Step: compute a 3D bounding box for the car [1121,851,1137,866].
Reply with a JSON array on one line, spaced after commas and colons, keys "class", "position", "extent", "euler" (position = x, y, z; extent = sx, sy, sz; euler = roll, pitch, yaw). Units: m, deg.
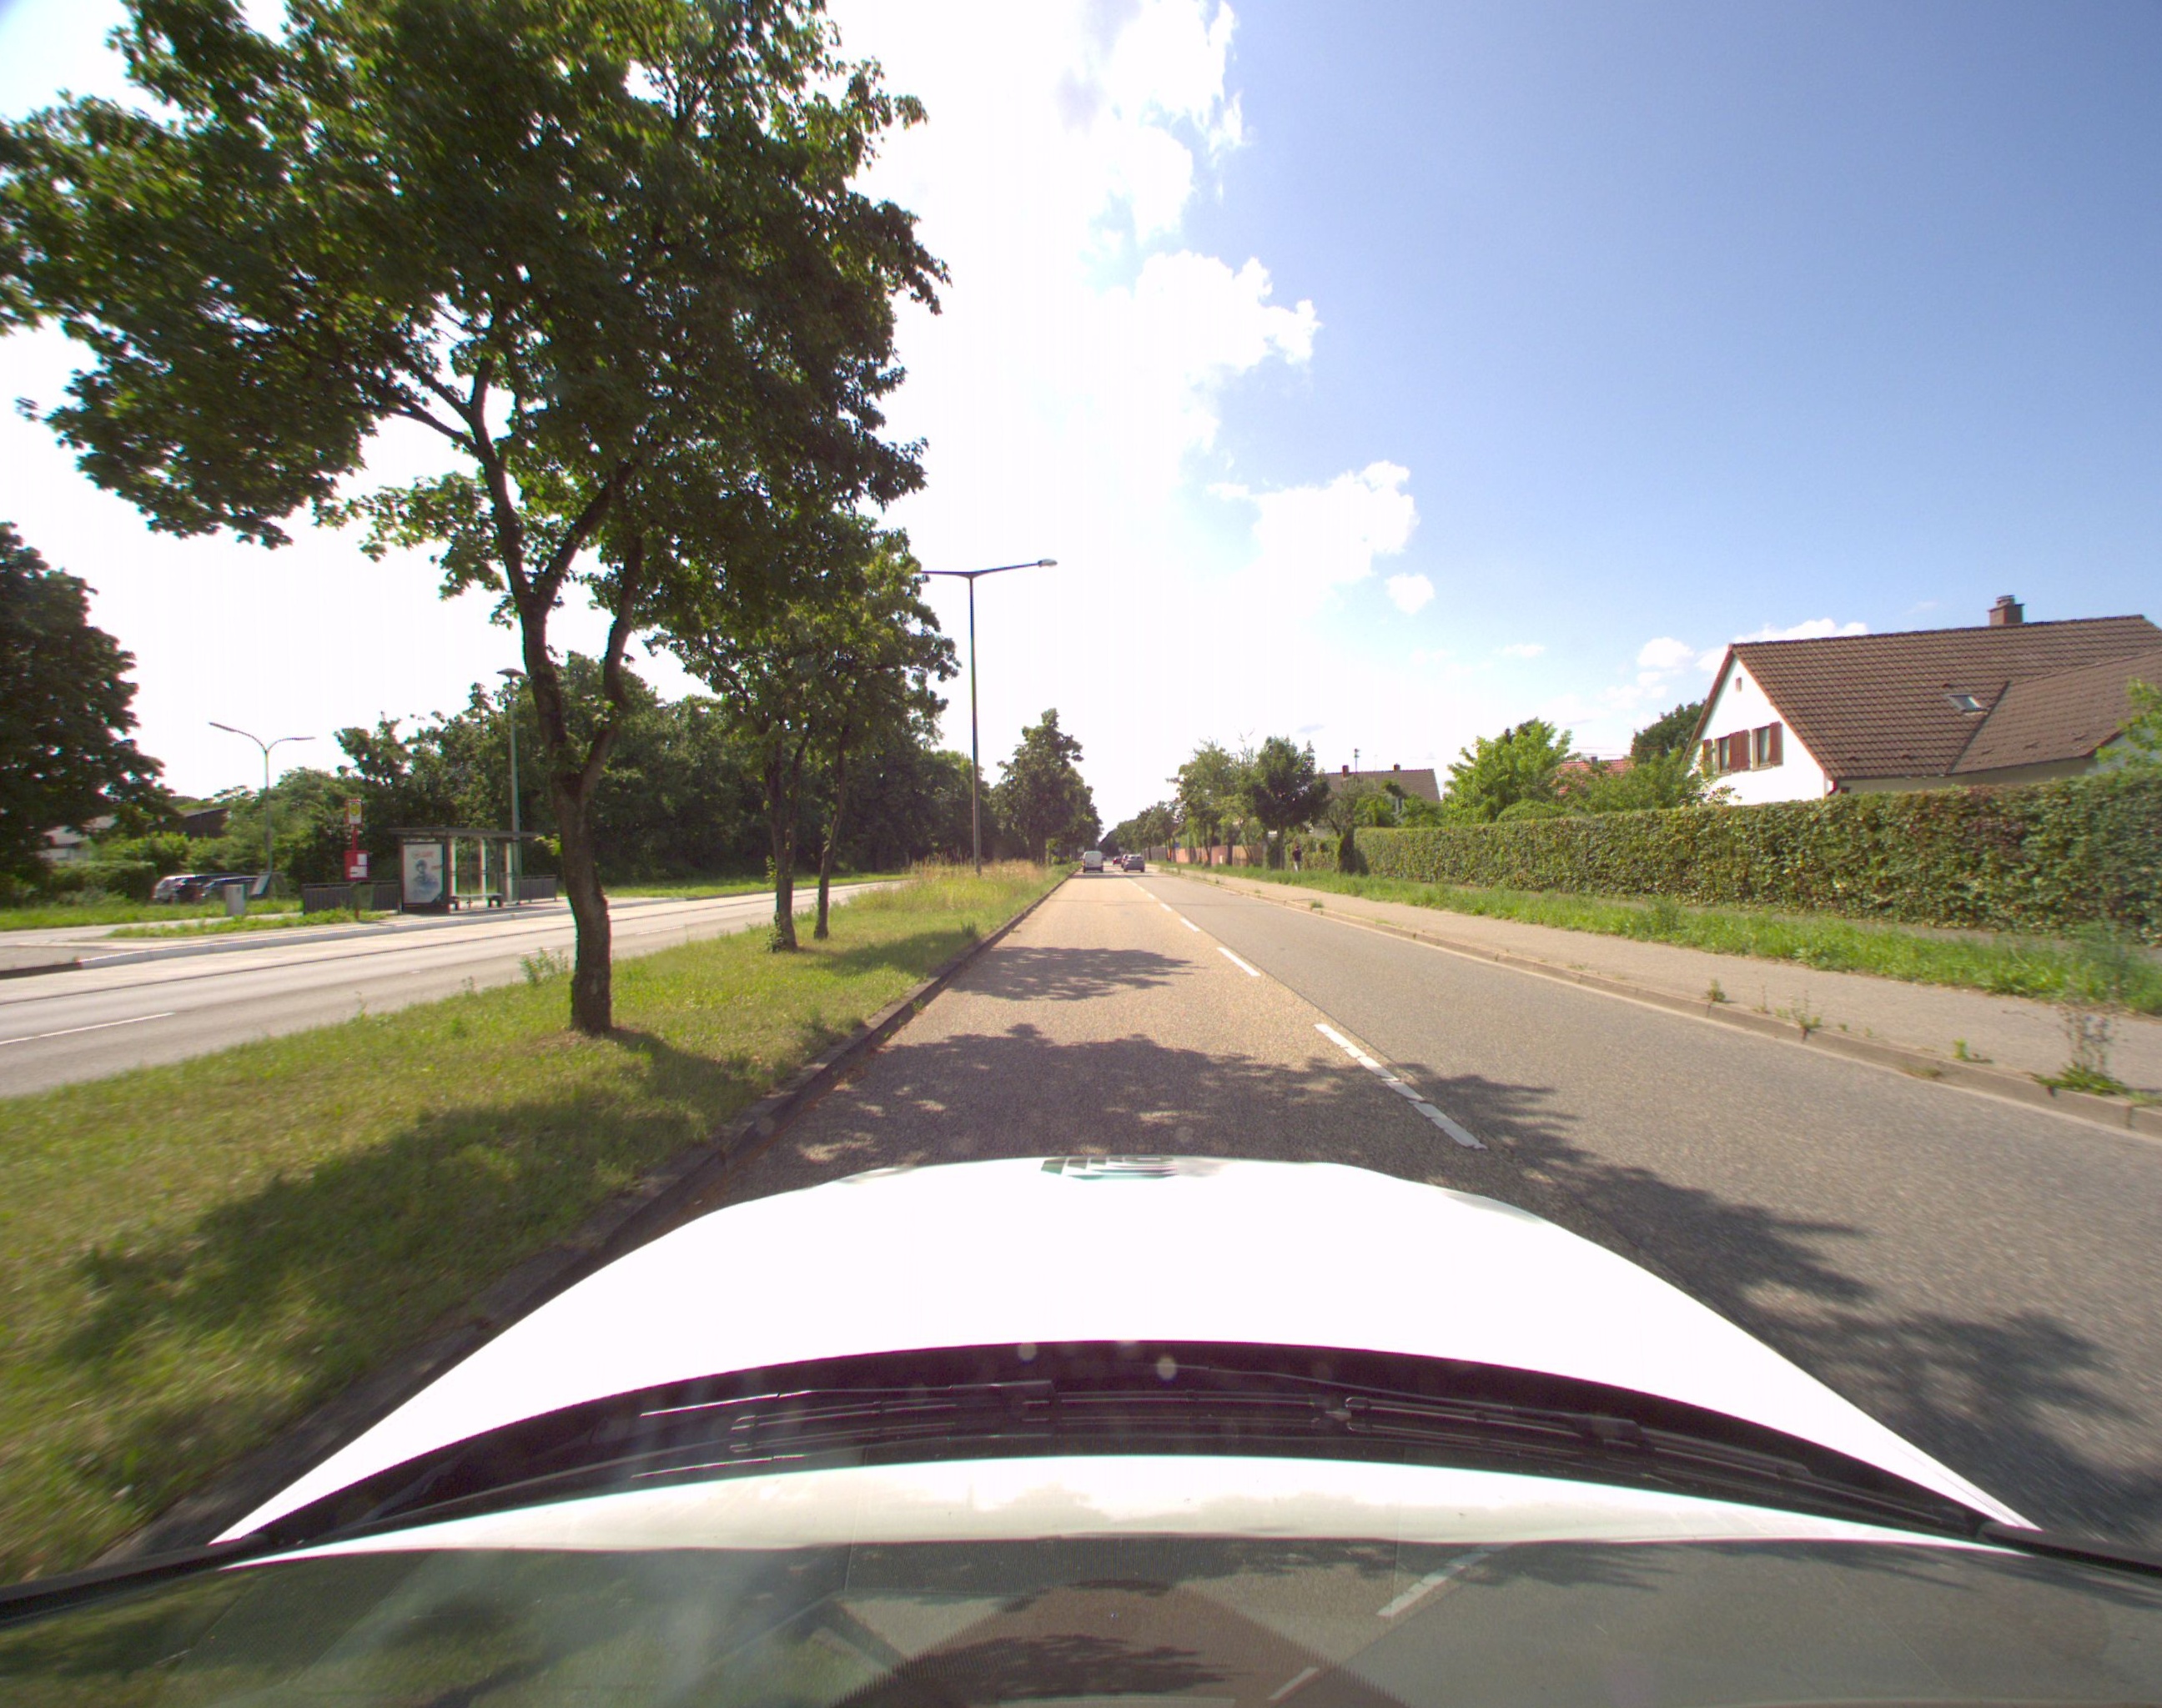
[{"class": "car", "position": [5.796, 0.543, 98.818], "extent": [1.868, 1.652, 4.001], "euler": [-1, 0, 1]}]

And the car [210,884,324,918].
[{"class": "car", "position": [-42.656, 2.401, 42.758], "extent": [1.737, 1.508, 4.026], "euler": [-1, 0, 37]}]

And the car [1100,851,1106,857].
[{"class": "car", "position": [6.426, -0.091, 238.423], "extent": [1.873, 1.714, 4.001], "euler": [-1, 0, 1]}]

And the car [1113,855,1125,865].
[{"class": "car", "position": [6.297, 1.043, 136.183], "extent": [1.873, 1.587, 4.001], "euler": [-1, 0, 1]}]

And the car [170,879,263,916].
[{"class": "car", "position": [-47.989, 2.366, 45.244], "extent": [1.737, 1.803, 3.345], "euler": [-1, 0, 37]}]

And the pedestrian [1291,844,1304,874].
[{"class": "pedestrian", "position": [12.408, 0.274, 46.676], "extent": [0.558, 1.677, 0.634], "euler": [-1, 0, 0]}]

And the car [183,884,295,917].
[{"class": "car", "position": [-45.539, 2.456, 44.122], "extent": [1.737, 1.508, 4.026], "euler": [-1, 0, 37]}]

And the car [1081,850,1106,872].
[{"class": "car", "position": [1.088, 0.598, 71.646], "extent": [2.058, 1.912, 4.647], "euler": [-1, 0, 1]}]

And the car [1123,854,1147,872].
[{"class": "car", "position": [4.826, 0.783, 73.241], "extent": [1.868, 1.589, 4.185], "euler": [-1, 0, 1]}]
